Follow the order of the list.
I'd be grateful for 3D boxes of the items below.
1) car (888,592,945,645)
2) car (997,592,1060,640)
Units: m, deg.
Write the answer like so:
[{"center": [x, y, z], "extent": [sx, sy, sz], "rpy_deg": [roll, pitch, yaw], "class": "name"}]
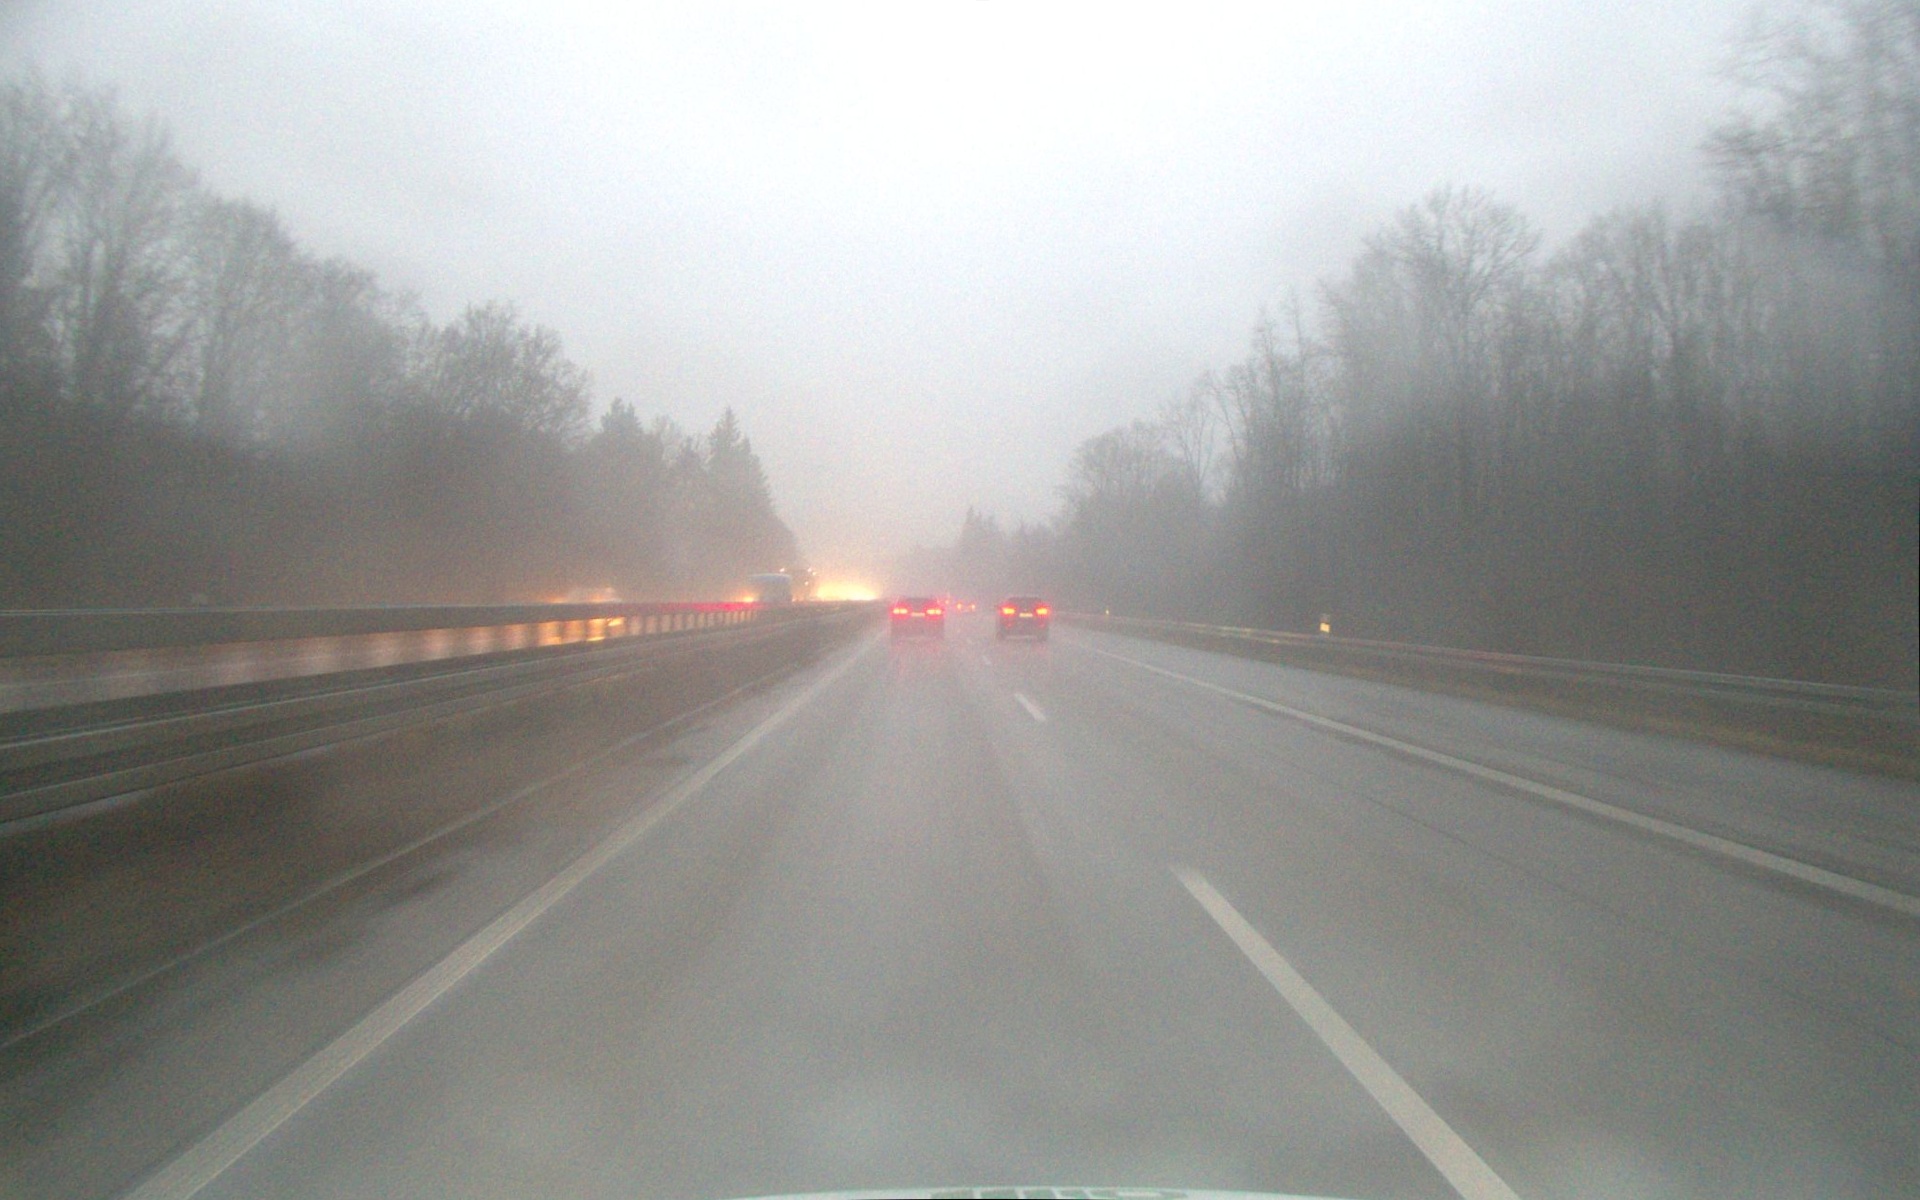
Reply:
[{"center": [-1.594, 0.635, 58.802], "extent": [1.946, 1.798, 4.171], "rpy_deg": [0, 0, -3], "class": "car"}, {"center": [2.562, 0.606, 62.840], "extent": [2.029, 1.727, 4.459], "rpy_deg": [1, 0, -2], "class": "car"}]
